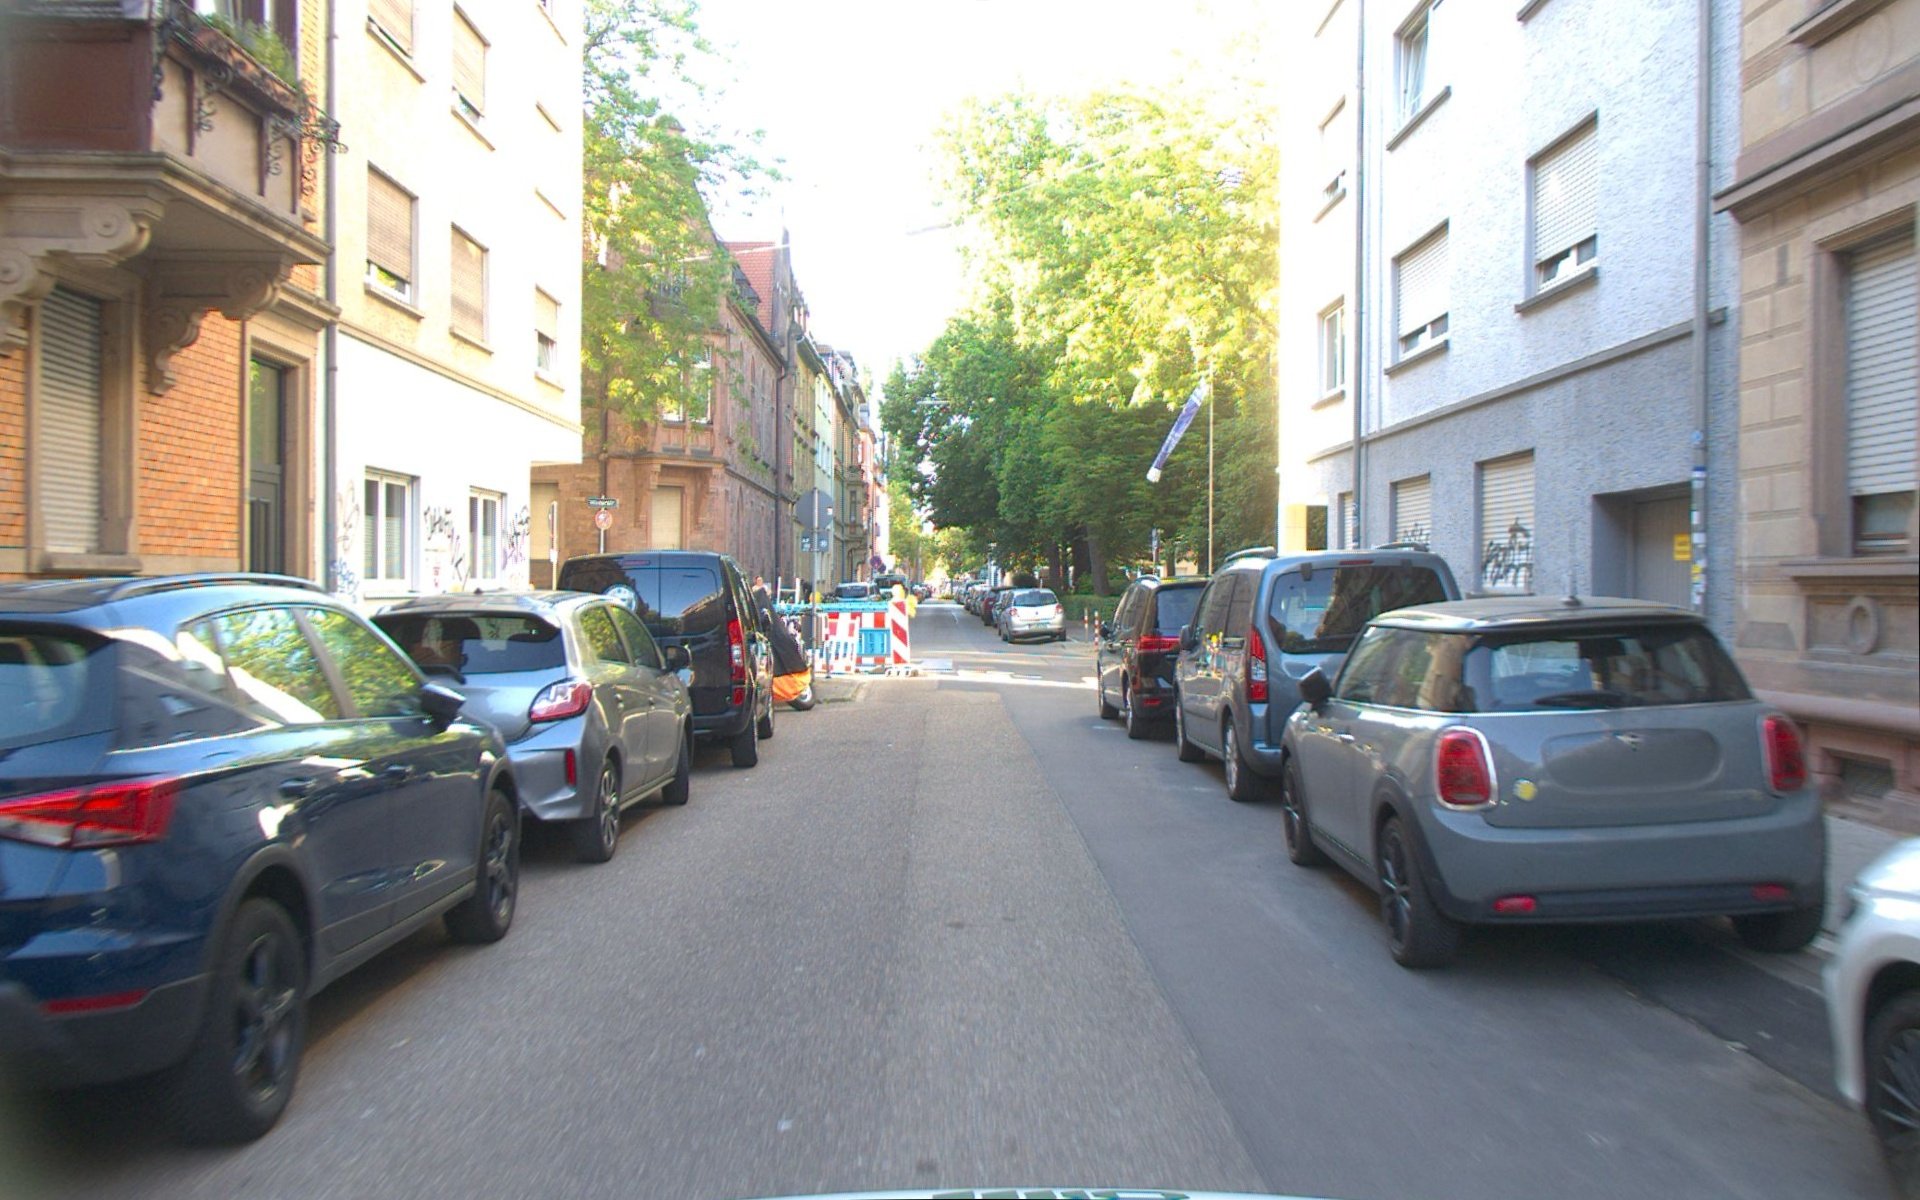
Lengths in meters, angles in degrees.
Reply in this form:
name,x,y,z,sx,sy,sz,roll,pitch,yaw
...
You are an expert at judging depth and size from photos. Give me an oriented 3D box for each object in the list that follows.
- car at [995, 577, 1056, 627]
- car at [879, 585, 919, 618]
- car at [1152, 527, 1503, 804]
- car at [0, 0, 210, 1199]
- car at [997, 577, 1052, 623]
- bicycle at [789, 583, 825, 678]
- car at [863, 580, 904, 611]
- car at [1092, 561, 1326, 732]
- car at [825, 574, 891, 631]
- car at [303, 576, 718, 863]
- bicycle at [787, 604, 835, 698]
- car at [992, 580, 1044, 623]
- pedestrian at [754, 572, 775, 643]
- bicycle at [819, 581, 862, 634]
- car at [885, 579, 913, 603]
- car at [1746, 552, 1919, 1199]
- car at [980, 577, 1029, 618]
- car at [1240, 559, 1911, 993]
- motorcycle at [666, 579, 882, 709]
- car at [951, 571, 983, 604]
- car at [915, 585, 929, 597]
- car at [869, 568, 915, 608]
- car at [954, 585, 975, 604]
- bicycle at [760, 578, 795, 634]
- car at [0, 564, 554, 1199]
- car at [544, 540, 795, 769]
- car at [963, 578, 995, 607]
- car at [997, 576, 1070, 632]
name,x,y,z,sx,sy,sz,roll,pitch,yaw
car,2.077,0.067,53.402,1.688,1.549,3.999,0,0,-2
car,-3.034,0.061,83.318,1.953,1.601,3.999,0,0,-2
car,2.798,0.405,13.696,1.718,1.817,4.723,-3,1,-1
car,-2.474,0.272,0.169,2.131,2.551,5.877,-2,1,-1
car,2.265,-0.016,59.047,1.706,1.601,3.999,0,0,-2
bicycle,-2.150,0.406,23.301,0.391,1.248,1.505,0,2,-2
car,-3.435,-0.220,74.545,1.735,1.377,3.999,0,1,-1
car,2.614,0.443,18.359,1.862,1.668,4.390,0,0,-1
car,-3.284,0.056,53.814,1.843,1.737,4.000,-1,0,0
car,-2.600,0.599,10.418,1.643,1.475,3.644,1,1,-1
bicycle,-1.974,0.659,22.028,0.416,1.160,1.666,3,1,1
car,2.213,0.031,64.238,1.804,1.624,3.999,0,1,-1
pedestrian,-4.873,0.184,41.288,0.514,1.771,0.557,0,0,-5
bicycle,-3.206,0.178,44.199,0.671,1.368,2.492,0,0,-16
car,-4.139,-0.622,112.488,1.864,1.601,3.999,0,0,-2
car,3.134,0.648,2.371,1.719,1.544,4.442,-4,1,-2
car,1.838,-0.110,69.062,1.856,1.653,3.999,0,0,-2
car,2.638,0.606,8.253,1.718,1.478,4.288,-4,1,1
motorcycle,-2.260,0.509,20.178,2.483,1.508,0.895,0,1,-28
car,0.478,-0.900,119.488,2.117,2.295,4.524,0,0,-2
car,-5.508,-1.348,239.391,1.953,1.676,3.999,0,0,-1
car,-3.739,-0.660,91.852,2.262,2.151,5.170,0,0,0
car,0.394,-0.567,157.095,1.953,1.758,3.999,-1,1,-1
bicycle,-4.915,0.149,44.709,0.669,1.448,2.797,0,0,-1
car,-2.854,0.687,5.763,1.953,1.579,3.999,-1,1,-1
car,-2.493,0.401,15.180,1.782,1.797,4.333,0,1,-3
car,1.109,-0.457,99.931,1.792,1.733,3.999,0,1,-2
car,2.090,0.082,47.869,1.689,1.549,3.998,-1,1,-3
